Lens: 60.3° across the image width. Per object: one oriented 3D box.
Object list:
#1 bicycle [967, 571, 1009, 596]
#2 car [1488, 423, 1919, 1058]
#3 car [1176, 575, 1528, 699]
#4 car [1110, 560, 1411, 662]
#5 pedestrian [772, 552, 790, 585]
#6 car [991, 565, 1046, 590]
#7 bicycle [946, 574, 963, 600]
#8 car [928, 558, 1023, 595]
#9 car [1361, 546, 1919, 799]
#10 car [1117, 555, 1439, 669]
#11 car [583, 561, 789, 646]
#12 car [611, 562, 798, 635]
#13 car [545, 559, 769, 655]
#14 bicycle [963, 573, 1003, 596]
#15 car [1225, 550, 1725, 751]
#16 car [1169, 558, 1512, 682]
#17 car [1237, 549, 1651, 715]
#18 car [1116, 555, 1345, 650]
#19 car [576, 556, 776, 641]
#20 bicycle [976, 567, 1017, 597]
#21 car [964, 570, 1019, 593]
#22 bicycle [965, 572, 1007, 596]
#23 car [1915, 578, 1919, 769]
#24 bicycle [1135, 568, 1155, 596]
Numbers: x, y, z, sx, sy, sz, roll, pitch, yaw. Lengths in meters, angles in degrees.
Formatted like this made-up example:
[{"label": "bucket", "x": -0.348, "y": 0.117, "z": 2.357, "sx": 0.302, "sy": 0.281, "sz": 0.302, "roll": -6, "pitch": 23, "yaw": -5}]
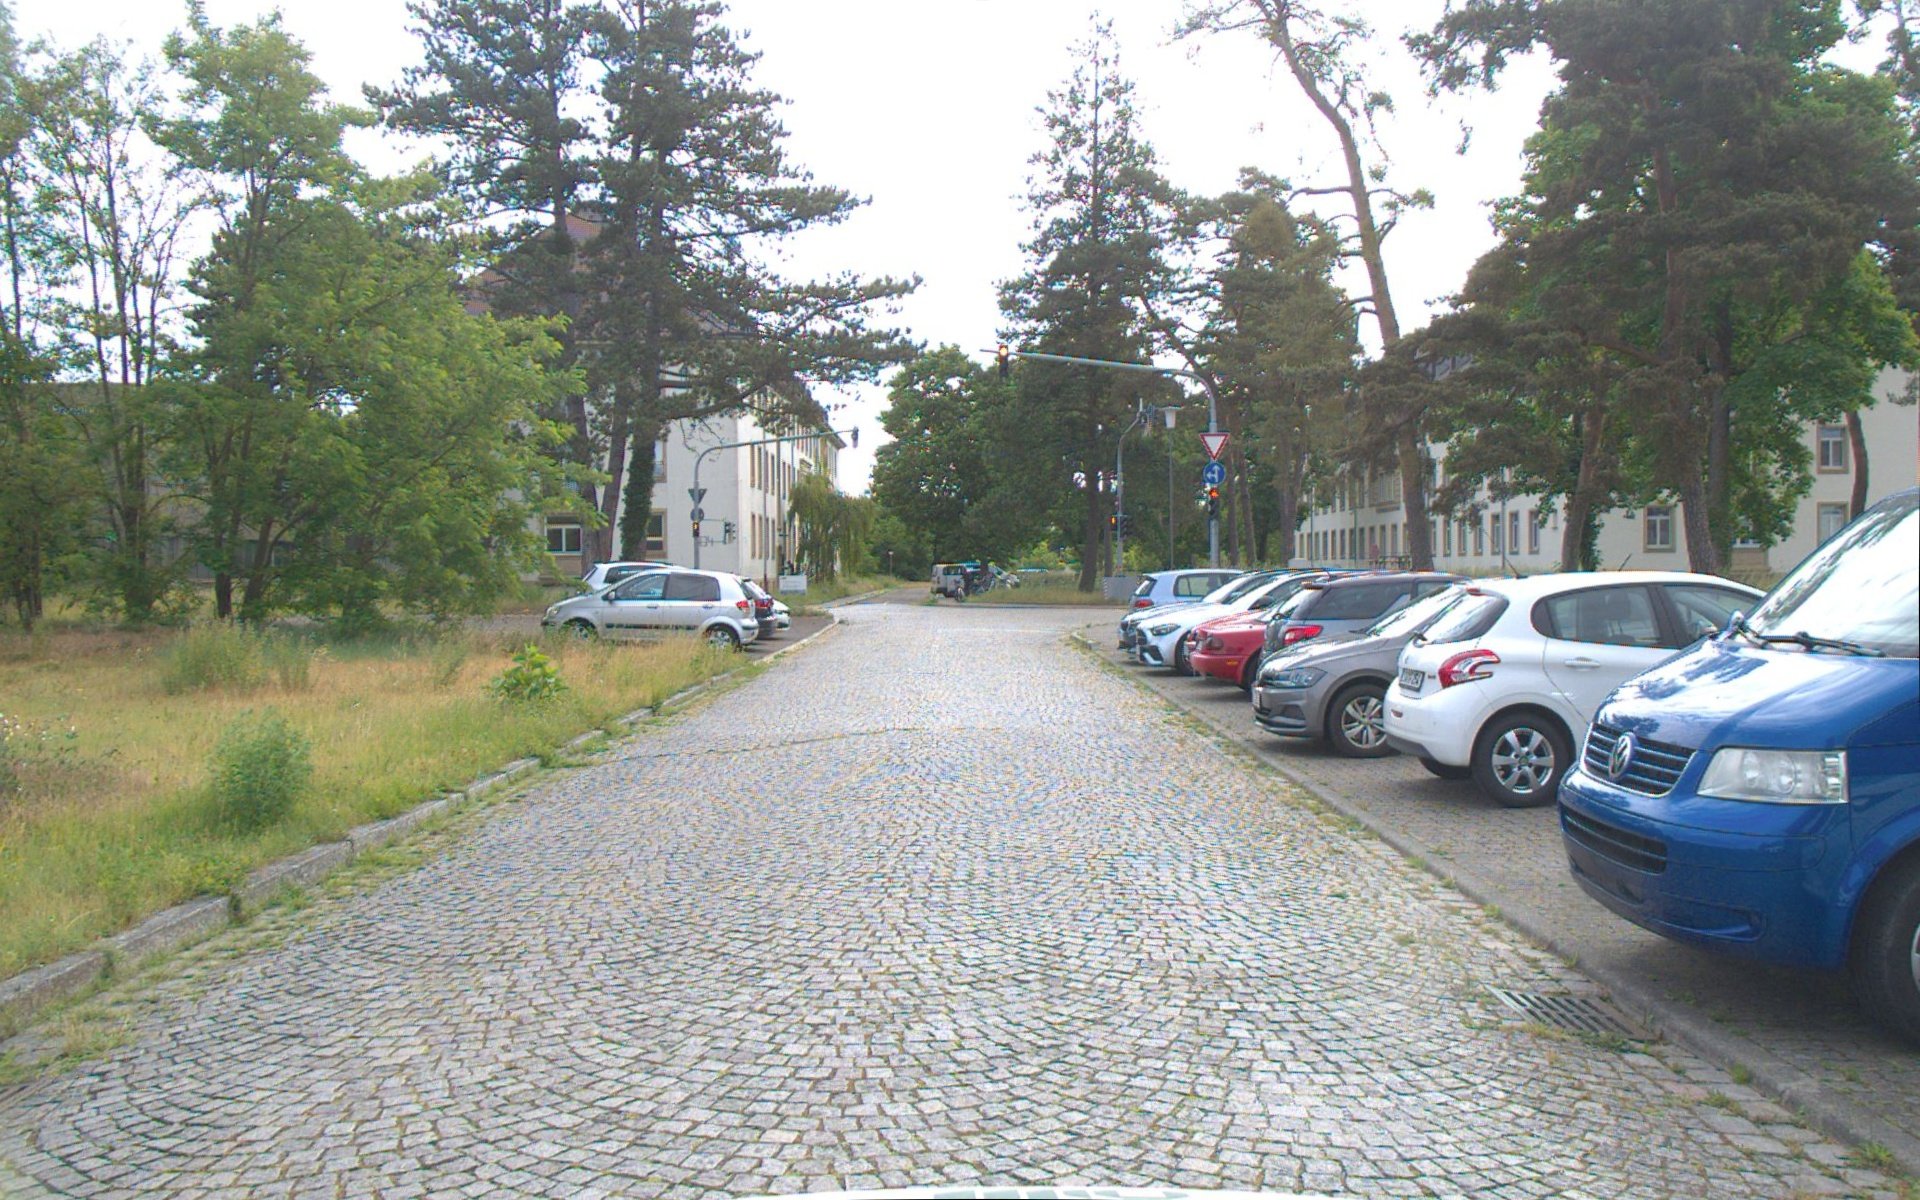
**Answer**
[{"label": "bicycle", "x": 1.317, "y": -0.787, "z": 78.670, "sx": 1.918, "sy": 1.152, "sz": 0.587, "roll": -1, "pitch": 1, "yaw": -7}, {"label": "car", "x": 4.707, "y": 0.341, "z": 6.278, "sx": 4.710, "sy": 1.979, "sz": 2.003, "roll": -2, "pitch": 1, "yaw": -2}, {"label": "car", "x": 4.644, "y": 0.413, "z": 19.971, "sx": 3.784, "sy": 1.257, "sz": 1.758, "roll": -2, "pitch": 1, "yaw": -2}, {"label": "car", "x": 4.904, "y": 0.158, "z": 27.404, "sx": 4.587, "sy": 1.441, "sz": 1.870, "roll": -2, "pitch": 1, "yaw": -3}, {"label": "pedestrian", "x": -10.191, "y": -1.794, "z": 94.318, "sx": 0.766, "sy": 1.869, "sz": 0.733, "roll": -1, "pitch": 1, "yaw": -32}, {"label": "car", "x": 3.540, "y": -1.362, "z": 100.647, "sx": 3.167, "sy": 1.441, "sz": 1.724, "roll": -1, "pitch": 1, "yaw": -3}, {"label": "bicycle", "x": -0.246, "y": -0.617, "z": 75.465, "sx": 0.591, "sy": 1.152, "sz": 1.959, "roll": 0, "pitch": 1, "yaw": -6}, {"label": "car", "x": 0.876, "y": -1.388, "z": 96.747, "sx": 5.262, "sy": 1.958, "sz": 2.021, "roll": -2, "pitch": 1, "yaw": -9}, {"label": "car", "x": 4.948, "y": 0.445, "z": 11.633, "sx": 3.784, "sy": 1.497, "sz": 1.758, "roll": -2, "pitch": 1, "yaw": -2}, {"label": "car", "x": 4.699, "y": 0.145, "z": 24.715, "sx": 4.341, "sy": 1.441, "sz": 1.867, "roll": -2, "pitch": 1, "yaw": -9}, {"label": "car", "x": -5.170, "y": 0.051, "z": 31.576, "sx": 3.671, "sy": 1.453, "sz": 1.581, "roll": 2, "pitch": 1, "yaw": -3}, {"label": "car", "x": -5.654, "y": -0.049, "z": 36.894, "sx": 3.867, "sy": 1.446, "sz": 1.650, "roll": 2, "pitch": 1, "yaw": -1}, {"label": "car", "x": -5.257, "y": 0.103, "z": 28.978, "sx": 3.629, "sy": 1.505, "sz": 1.581, "roll": 2, "pitch": 1, "yaw": -3}, {"label": "bicycle", "x": 1.142, "y": -0.777, "z": 80.786, "sx": 1.934, "sy": 1.088, "sz": 0.582, "roll": -1, "pitch": 1, "yaw": -30}, {"label": "car", "x": 4.391, "y": 0.392, "z": 14.492, "sx": 3.784, "sy": 1.497, "sz": 1.758, "roll": -2, "pitch": 1, "yaw": -2}, {"label": "car", "x": 5.073, "y": 0.237, "z": 22.450, "sx": 4.175, "sy": 1.441, "sz": 1.871, "roll": -2, "pitch": 1, "yaw": -1}, {"label": "car", "x": 4.971, "y": 0.299, "z": 17.338, "sx": 3.784, "sy": 1.497, "sz": 1.758, "roll": -2, "pitch": 1, "yaw": -2}, {"label": "car", "x": 4.818, "y": 0.028, "z": 29.854, "sx": 3.846, "sy": 1.503, "sz": 1.643, "roll": -2, "pitch": 1, "yaw": 1}, {"label": "car", "x": -5.839, "y": -0.042, "z": 34.350, "sx": 3.869, "sy": 1.590, "sz": 1.649, "roll": 2, "pitch": 1, "yaw": -3}, {"label": "bicycle", "x": 1.778, "y": -0.875, "z": 80.137, "sx": 1.918, "sy": 1.408, "sz": 0.587, "roll": -1, "pitch": 1, "yaw": -7}, {"label": "car", "x": 1.761, "y": -1.053, "z": 93.393, "sx": 2.948, "sy": 1.290, "sz": 1.533, "roll": -1, "pitch": 1, "yaw": -6}, {"label": "bicycle", "x": 1.252, "y": -0.775, "z": 79.304, "sx": 1.918, "sy": 1.136, "sz": 0.587, "roll": -1, "pitch": 1, "yaw": -7}, {"label": "car", "x": 4.557, "y": 0.632, "z": 3.689, "sx": 3.784, "sy": 1.497, "sz": 1.841, "roll": -2, "pitch": 1, "yaw": -2}, {"label": "bicycle", "x": 7.434, "y": -0.741, "z": 66.601, "sx": 0.574, "sy": 1.125, "sz": 1.961, "roll": 0, "pitch": 1, "yaw": 0}]
